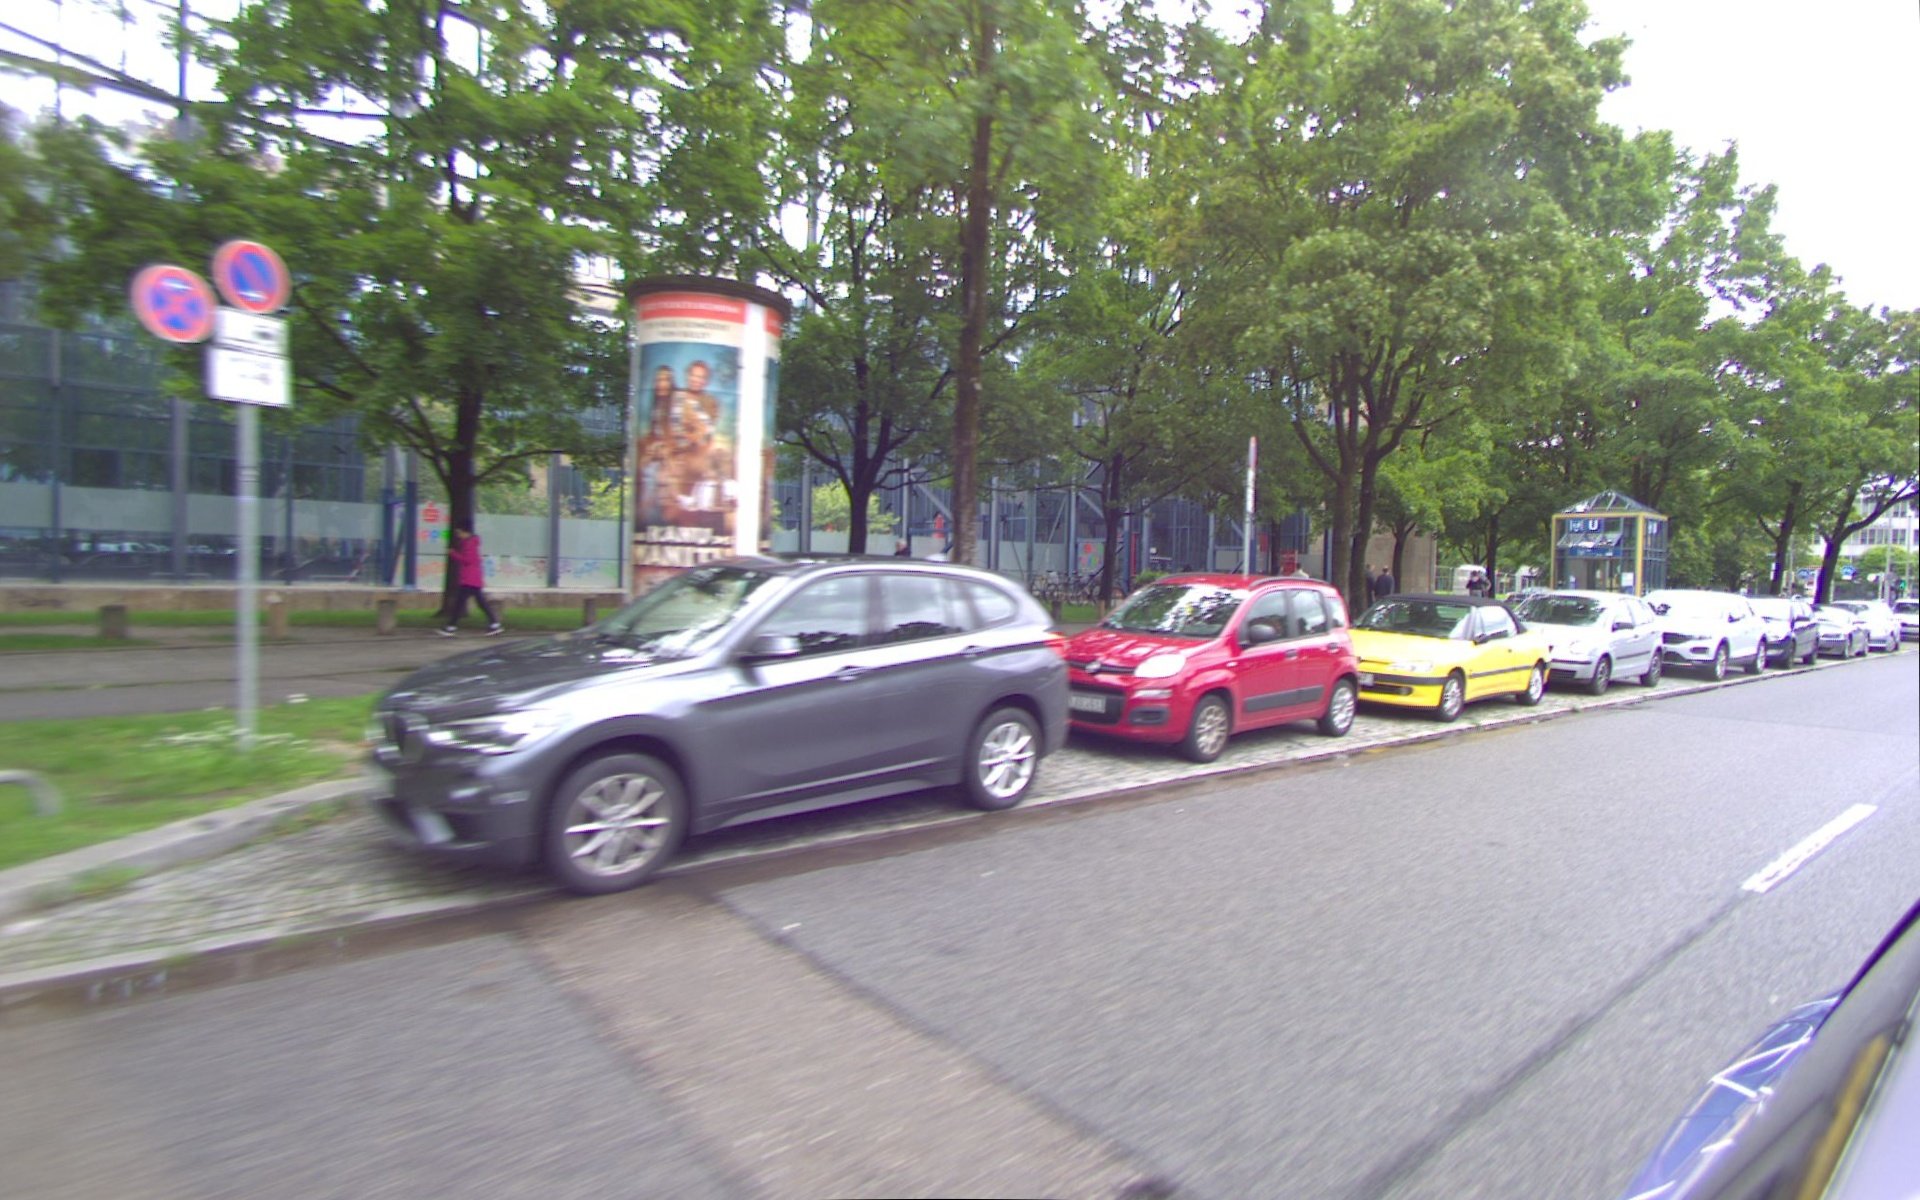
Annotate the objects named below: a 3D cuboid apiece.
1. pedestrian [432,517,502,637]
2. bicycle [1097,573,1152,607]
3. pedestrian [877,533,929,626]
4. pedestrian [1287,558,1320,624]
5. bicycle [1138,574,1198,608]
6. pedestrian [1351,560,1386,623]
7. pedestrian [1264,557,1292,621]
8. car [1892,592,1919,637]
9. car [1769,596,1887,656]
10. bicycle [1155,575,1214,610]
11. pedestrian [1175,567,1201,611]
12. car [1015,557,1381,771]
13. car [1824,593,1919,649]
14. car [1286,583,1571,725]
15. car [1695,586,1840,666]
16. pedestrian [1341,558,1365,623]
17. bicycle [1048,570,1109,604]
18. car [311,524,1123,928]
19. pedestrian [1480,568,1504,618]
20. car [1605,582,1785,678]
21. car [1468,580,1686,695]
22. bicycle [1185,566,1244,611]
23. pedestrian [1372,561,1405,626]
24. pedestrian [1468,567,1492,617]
[{"bbox_3d":[-7.076,-0.336,14.563,0.845,1.665,0.741,1,3,-22],"label":"pedestrian"},{"bbox_3d":[4.799,-0.298,29.495,1.732,0.952,0.618,0,2,-41],"label":"bicycle"},{"bbox_3d":[-1.068,-0.393,18.908,0.633,1.665,0.739,0,4,-36],"label":"pedestrian"},{"bbox_3d":[8.918,-0.247,26.260,0.427,1.661,0.612,0,4,-39],"label":"pedestrian"},{"bbox_3d":[6.083,-0.250,29.520,2.104,0.952,0.512,0,2,-42],"label":"bicycle"},{"bbox_3d":[11.304,-0.241,27.996,0.602,1.710,0.611,-1,4,-44],"label":"pedestrian"},{"bbox_3d":[8.391,-0.285,26.700,0.419,1.647,0.506,-1,4,-44],"label":"pedestrian"},{"bbox_3d":[34.750,0.519,36.137,3.667,1.522,1.590,0,2,-39],"label":"car"},{"bbox_3d":[21.832,0.612,25.413,3.667,1.333,1.590,0,2,-39],"label":"car"},{"bbox_3d":[6.482,-0.214,29.162,2.104,0.952,0.512,0,2,-42],"label":"bicycle"},{"bbox_3d":[6.405,-0.315,28.465,0.419,1.193,0.507,0,4,-40],"label":"pedestrian"},{"bbox_3d":[2.326,0.456,9.432,3.562,1.593,1.553,0,2,-42],"label":"car"},{"bbox_3d":[26.140,0.558,28.884,3.667,1.420,1.590,0,2,-39],"label":"car"},{"bbox_3d":[5.860,0.547,12.436,4.122,1.398,1.626,0,3,-41],"label":"car"},{"bbox_3d":[17.608,0.511,22.016,3.667,1.524,1.683,0,2,-39],"label":"car"},{"bbox_3d":[10.386,-0.252,26.717,0.344,1.710,0.432,0,2,-44],"label":"pedestrian"},{"bbox_3d":[3.520,-0.387,29.878,2.028,0.952,0.571,-1,3,-41],"label":"bicycle"},{"bbox_3d":[-1.173,0.454,6.240,4.524,1.610,1.864,0,3,-42],"label":"car"},{"bbox_3d":[18.883,-0.247,35.935,0.550,1.743,0.527,-1,4,-44],"label":"pedestrian"},{"bbox_3d":[13.681,0.491,18.774,4.022,1.550,1.683,0,2,-39],"label":"car"},{"bbox_3d":[9.521,0.497,15.522,3.825,1.493,1.627,0,2,-39],"label":"car"},{"bbox_3d":[7.194,-0.329,28.543,2.104,1.207,0.512,-1,3,-41],"label":"bicycle"},{"bbox_3d":[11.668,-0.186,27.553,0.649,1.743,0.527,-1,4,-44],"label":"pedestrian"},{"bbox_3d":[18.303,-0.288,35.636,0.550,1.743,0.527,-1,4,-44],"label":"pedestrian"}]
